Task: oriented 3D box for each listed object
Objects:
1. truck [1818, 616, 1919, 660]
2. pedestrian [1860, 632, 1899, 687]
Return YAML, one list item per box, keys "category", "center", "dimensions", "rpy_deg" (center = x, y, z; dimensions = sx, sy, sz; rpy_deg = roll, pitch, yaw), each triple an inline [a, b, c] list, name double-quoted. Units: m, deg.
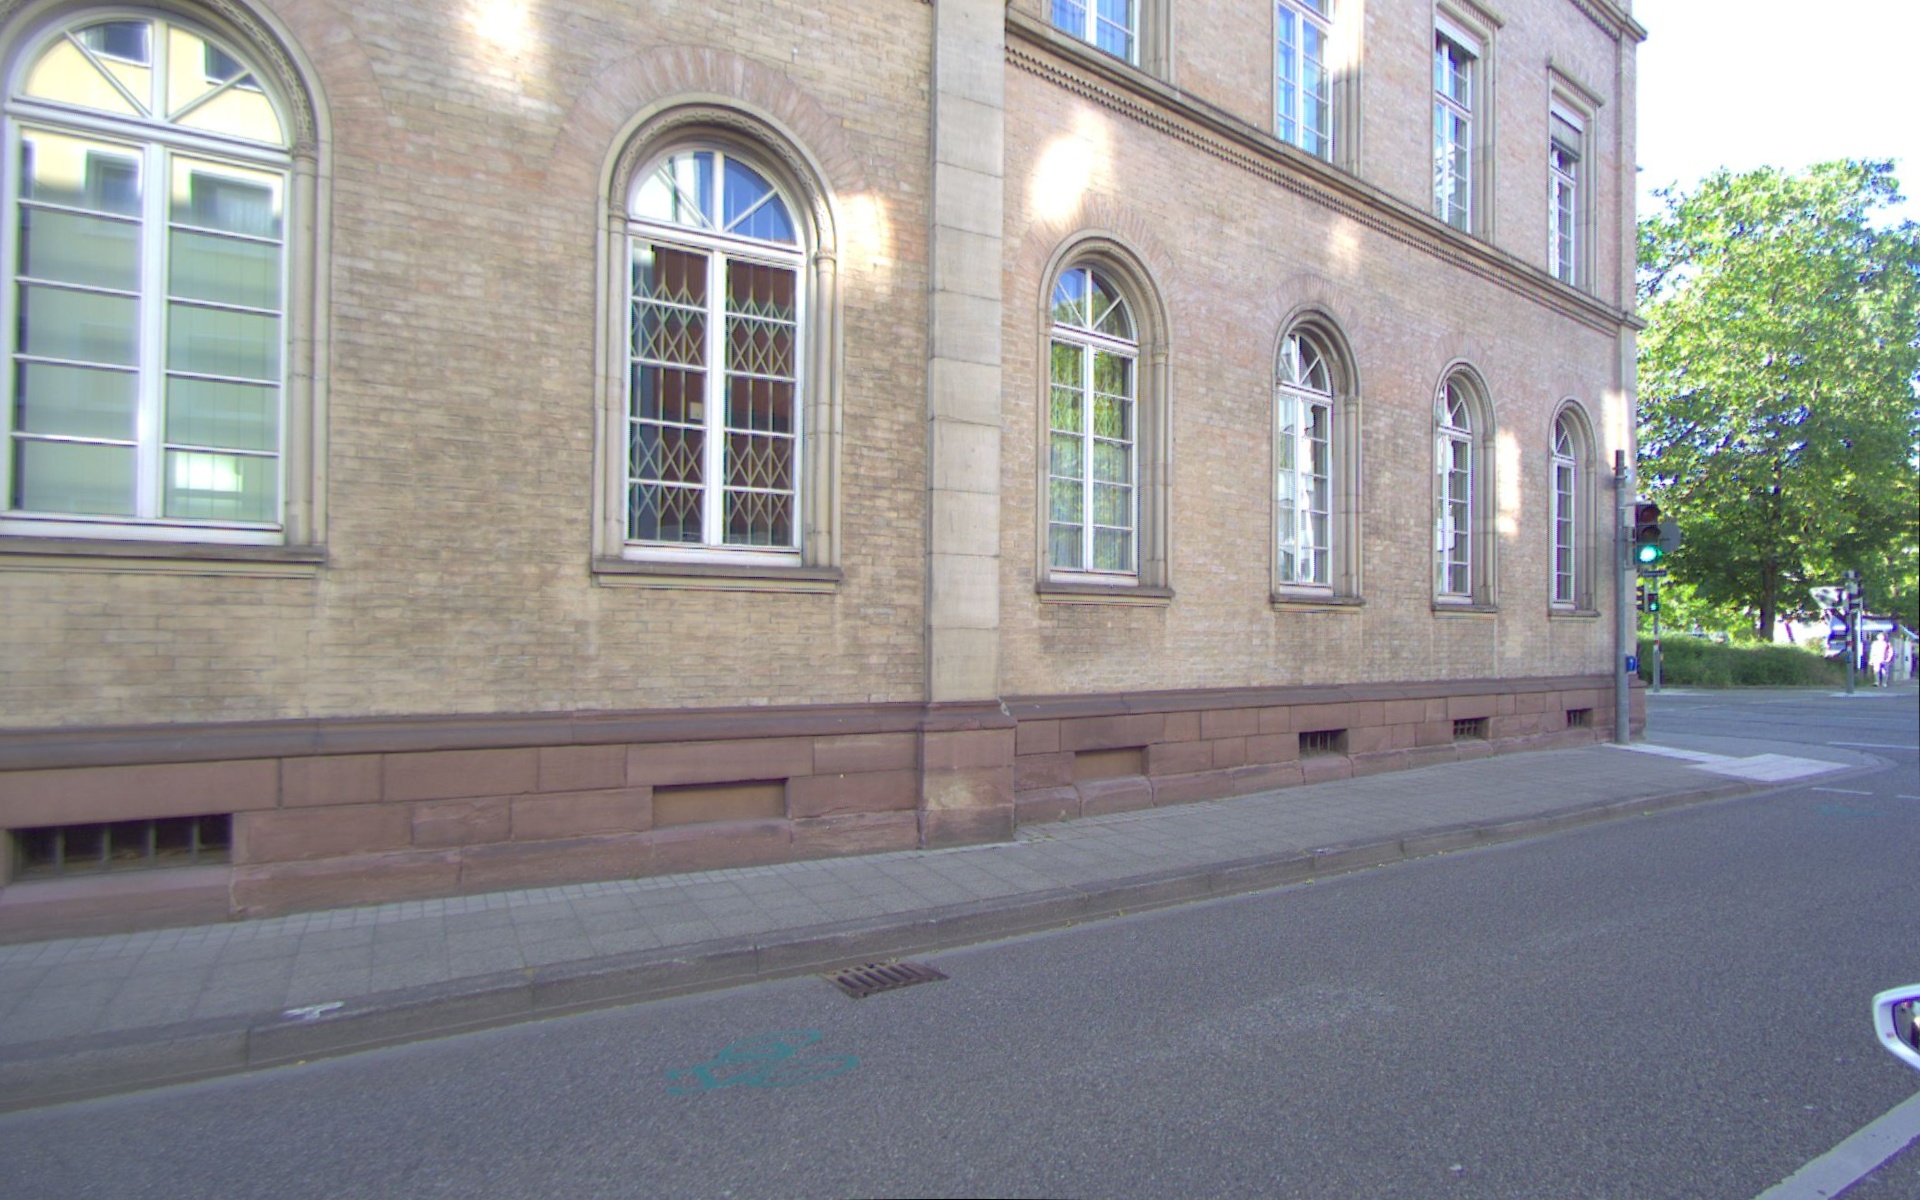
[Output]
- category: "truck"
  center: [53.601, 2.176, 58.825]
  dimensions: [2.069, 2.431, 4.790]
  rpy_deg: [1, -1, -39]
- category: "pedestrian"
  center: [29.571, 1.907, 32.316]
  dimensions: [0.945, 1.745, 0.699]
  rpy_deg: [2, -3, -34]
